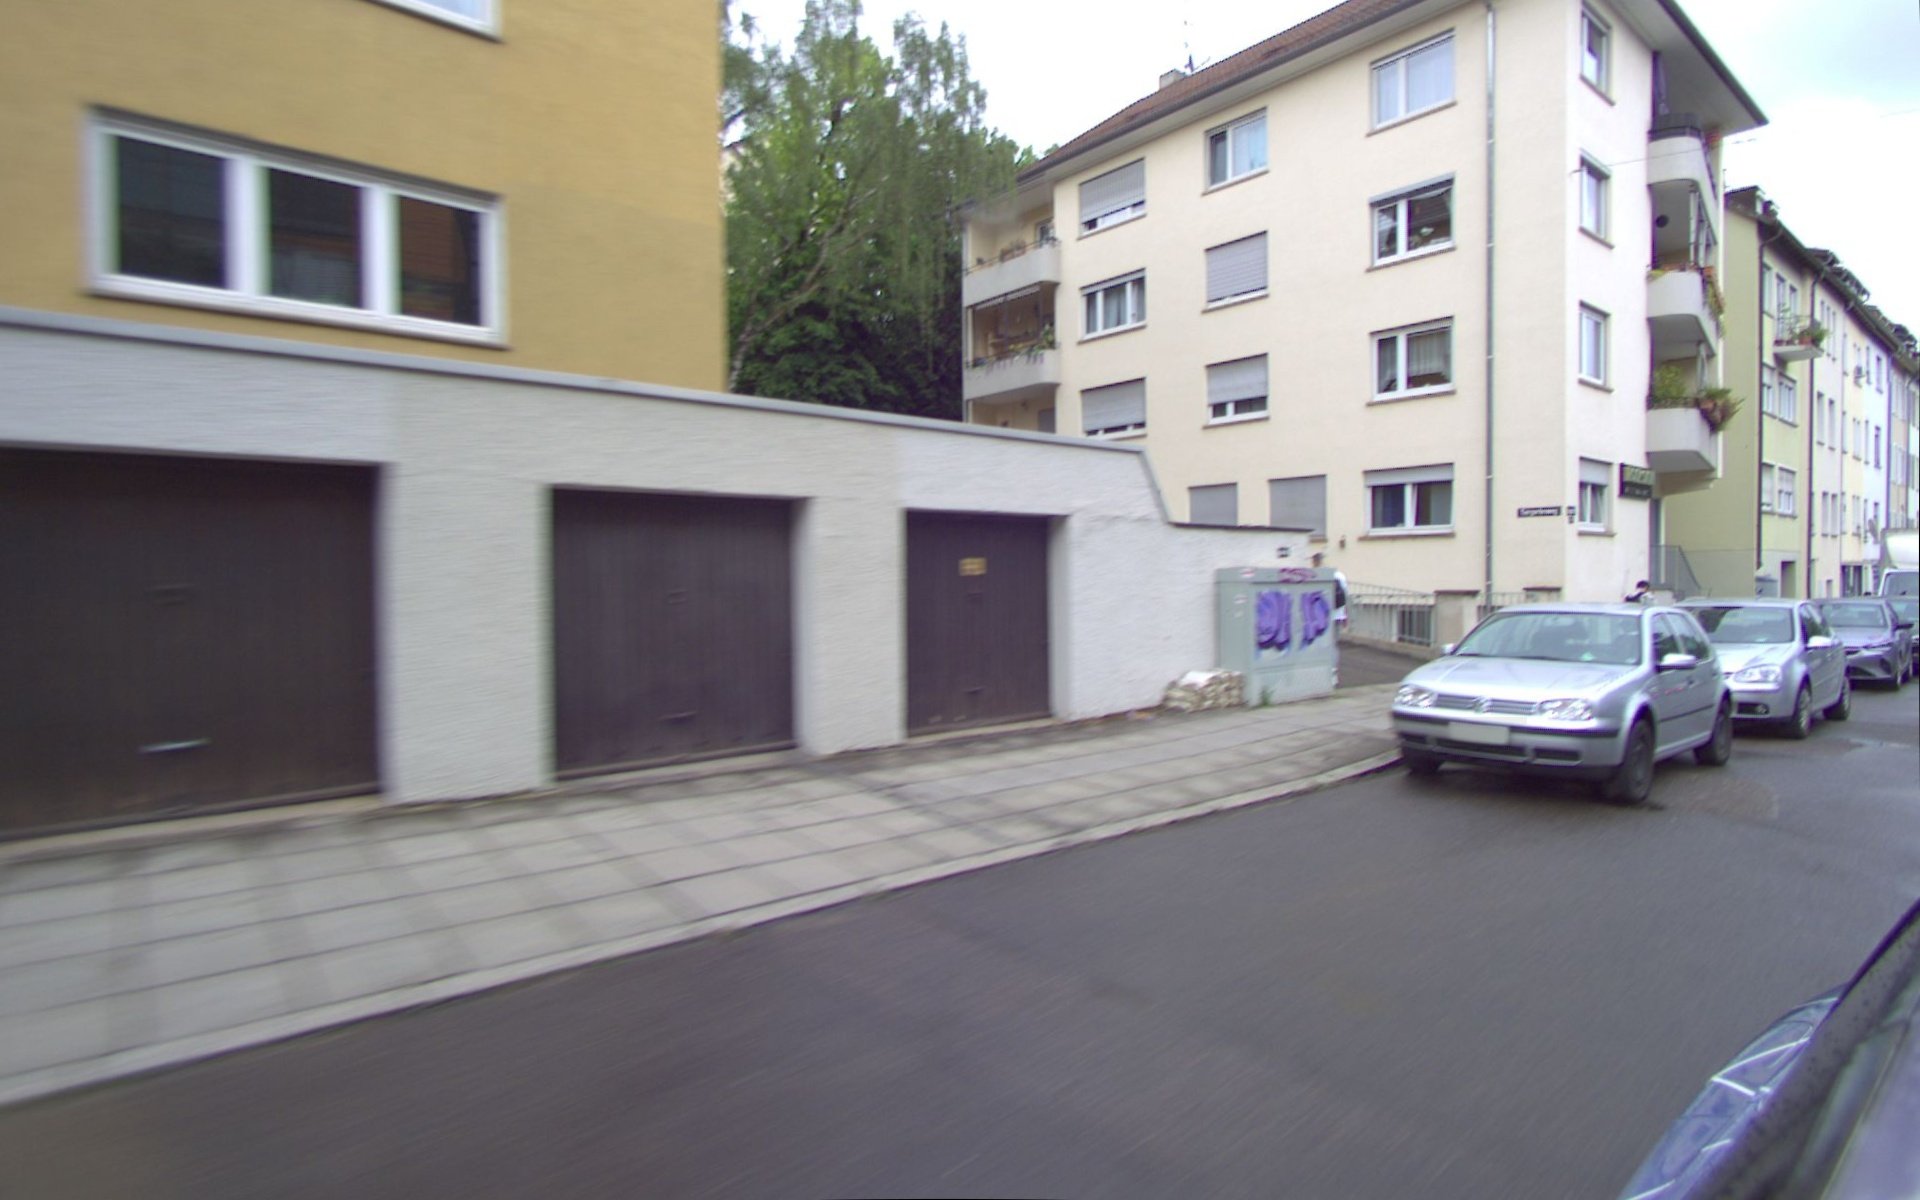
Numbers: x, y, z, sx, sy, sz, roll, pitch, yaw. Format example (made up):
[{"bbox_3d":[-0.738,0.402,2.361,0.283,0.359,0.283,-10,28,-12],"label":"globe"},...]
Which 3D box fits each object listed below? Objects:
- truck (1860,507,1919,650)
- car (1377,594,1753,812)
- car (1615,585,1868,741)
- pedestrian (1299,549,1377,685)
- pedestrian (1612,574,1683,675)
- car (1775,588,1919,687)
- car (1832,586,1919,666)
[{"bbox_3d":[24.445,-0.492,24.887,6.911,3.212,2.474,0,1,-40],"label":"truck"},{"bbox_3d":[5.257,0.667,8.586,3.854,1.417,1.666,0,1,-42],"label":"car"},{"bbox_3d":[9.225,0.597,11.833,3.854,1.521,1.666,0,1,-42],"label":"car"},{"bbox_3d":[5.116,0.217,13.740,0.755,1.754,0.742,4,1,9],"label":"pedestrian"},{"bbox_3d":[11.526,0.396,16.963,0.730,1.622,0.667,1,4,-36],"label":"pedestrian"},{"bbox_3d":[15.131,0.538,17.081,3.856,1.438,1.665,-1,2,-44],"label":"car"},{"bbox_3d":[18.741,0.524,20.018,3.970,1.439,1.666,2,-1,-41],"label":"car"}]
